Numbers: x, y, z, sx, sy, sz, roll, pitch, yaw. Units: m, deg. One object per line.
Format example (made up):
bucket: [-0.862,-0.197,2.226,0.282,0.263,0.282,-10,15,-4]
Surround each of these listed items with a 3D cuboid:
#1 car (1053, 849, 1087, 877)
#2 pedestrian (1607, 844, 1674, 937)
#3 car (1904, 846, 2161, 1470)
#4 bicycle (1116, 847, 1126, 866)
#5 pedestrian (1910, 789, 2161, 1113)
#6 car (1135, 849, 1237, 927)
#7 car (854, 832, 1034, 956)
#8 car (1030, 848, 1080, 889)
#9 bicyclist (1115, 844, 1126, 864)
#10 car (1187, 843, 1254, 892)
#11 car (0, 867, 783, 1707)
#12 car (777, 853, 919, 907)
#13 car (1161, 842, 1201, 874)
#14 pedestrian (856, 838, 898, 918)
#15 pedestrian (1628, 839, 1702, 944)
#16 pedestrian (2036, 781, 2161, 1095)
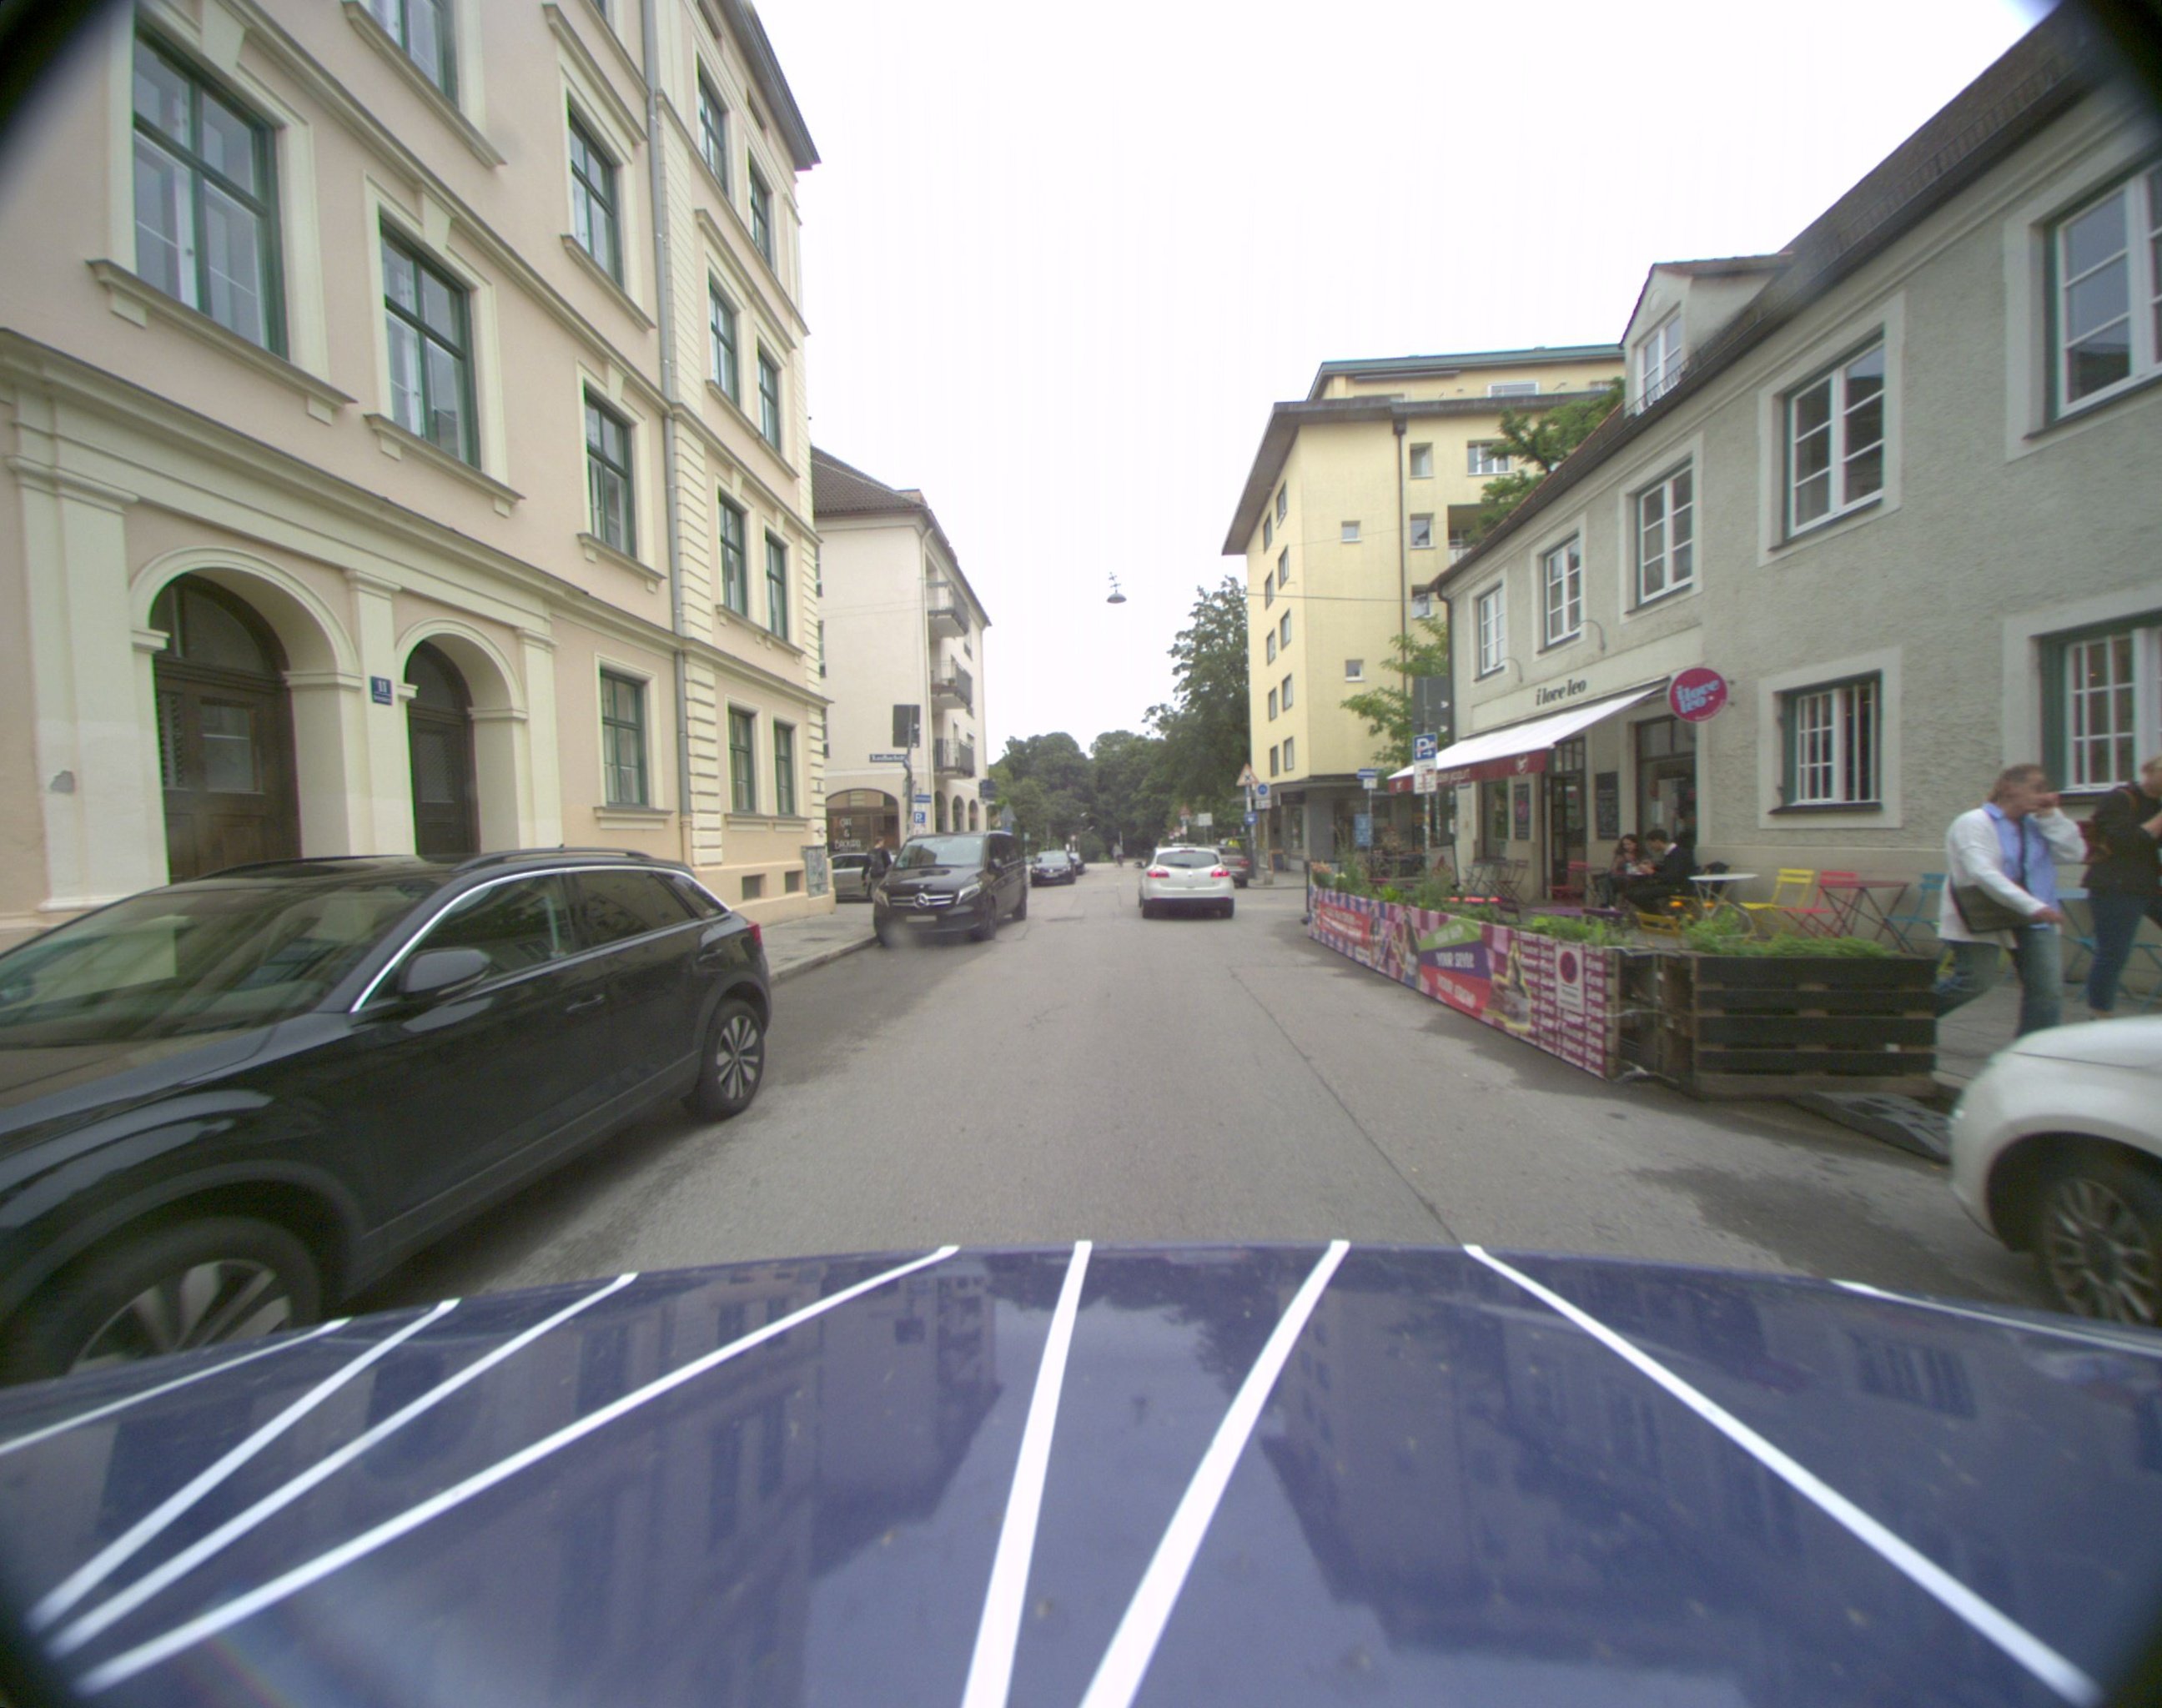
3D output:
car: [-0.628,0.493,44.941,1.711,1.491,4.000,-2,1,3]
pedestrian: [7.588,0.484,10.324,0.509,1.206,0.595,-3,0,18]
car: [3.427,0.760,0.722,1.573,1.506,3.423,-3,1,0]
bicycle: [2.958,0.170,56.545,0.689,1.371,2.398,-3,1,2]
pedestrian: [5.115,0.474,4.074,0.614,1.589,0.662,-2,2,0]
car: [2.101,0.624,16.175,1.792,1.409,3.905,-1,1,3]
car: [-2.264,0.568,14.211,1.998,1.850,5.114,-2,1,5]
car: [-1.007,0.564,31.434,1.711,1.491,4.000,-2,1,3]
bicyclist: [2.934,-0.010,56.440,0.651,1.466,0.766,-3,2,0]
car: [4.693,0.400,26.023,1.711,1.491,4.000,-2,1,3]
car: [-2.917,0.926,2.806,1.721,1.557,4.143,-2,1,4]
car: [-7.483,0.812,24.637,3.997,1.557,1.712,-2,1,0]
car: [5.227,0.184,39.998,1.711,1.550,4.000,-2,1,3]
pedestrian: [-4.707,0.535,17.571,0.698,1.792,0.730,-2,2,3]
pedestrian: [7.311,0.462,9.528,0.523,1.258,0.548,-3,0,18]
pedestrian: [6.087,0.442,4.206,0.581,1.689,0.806,-2,2,0]
